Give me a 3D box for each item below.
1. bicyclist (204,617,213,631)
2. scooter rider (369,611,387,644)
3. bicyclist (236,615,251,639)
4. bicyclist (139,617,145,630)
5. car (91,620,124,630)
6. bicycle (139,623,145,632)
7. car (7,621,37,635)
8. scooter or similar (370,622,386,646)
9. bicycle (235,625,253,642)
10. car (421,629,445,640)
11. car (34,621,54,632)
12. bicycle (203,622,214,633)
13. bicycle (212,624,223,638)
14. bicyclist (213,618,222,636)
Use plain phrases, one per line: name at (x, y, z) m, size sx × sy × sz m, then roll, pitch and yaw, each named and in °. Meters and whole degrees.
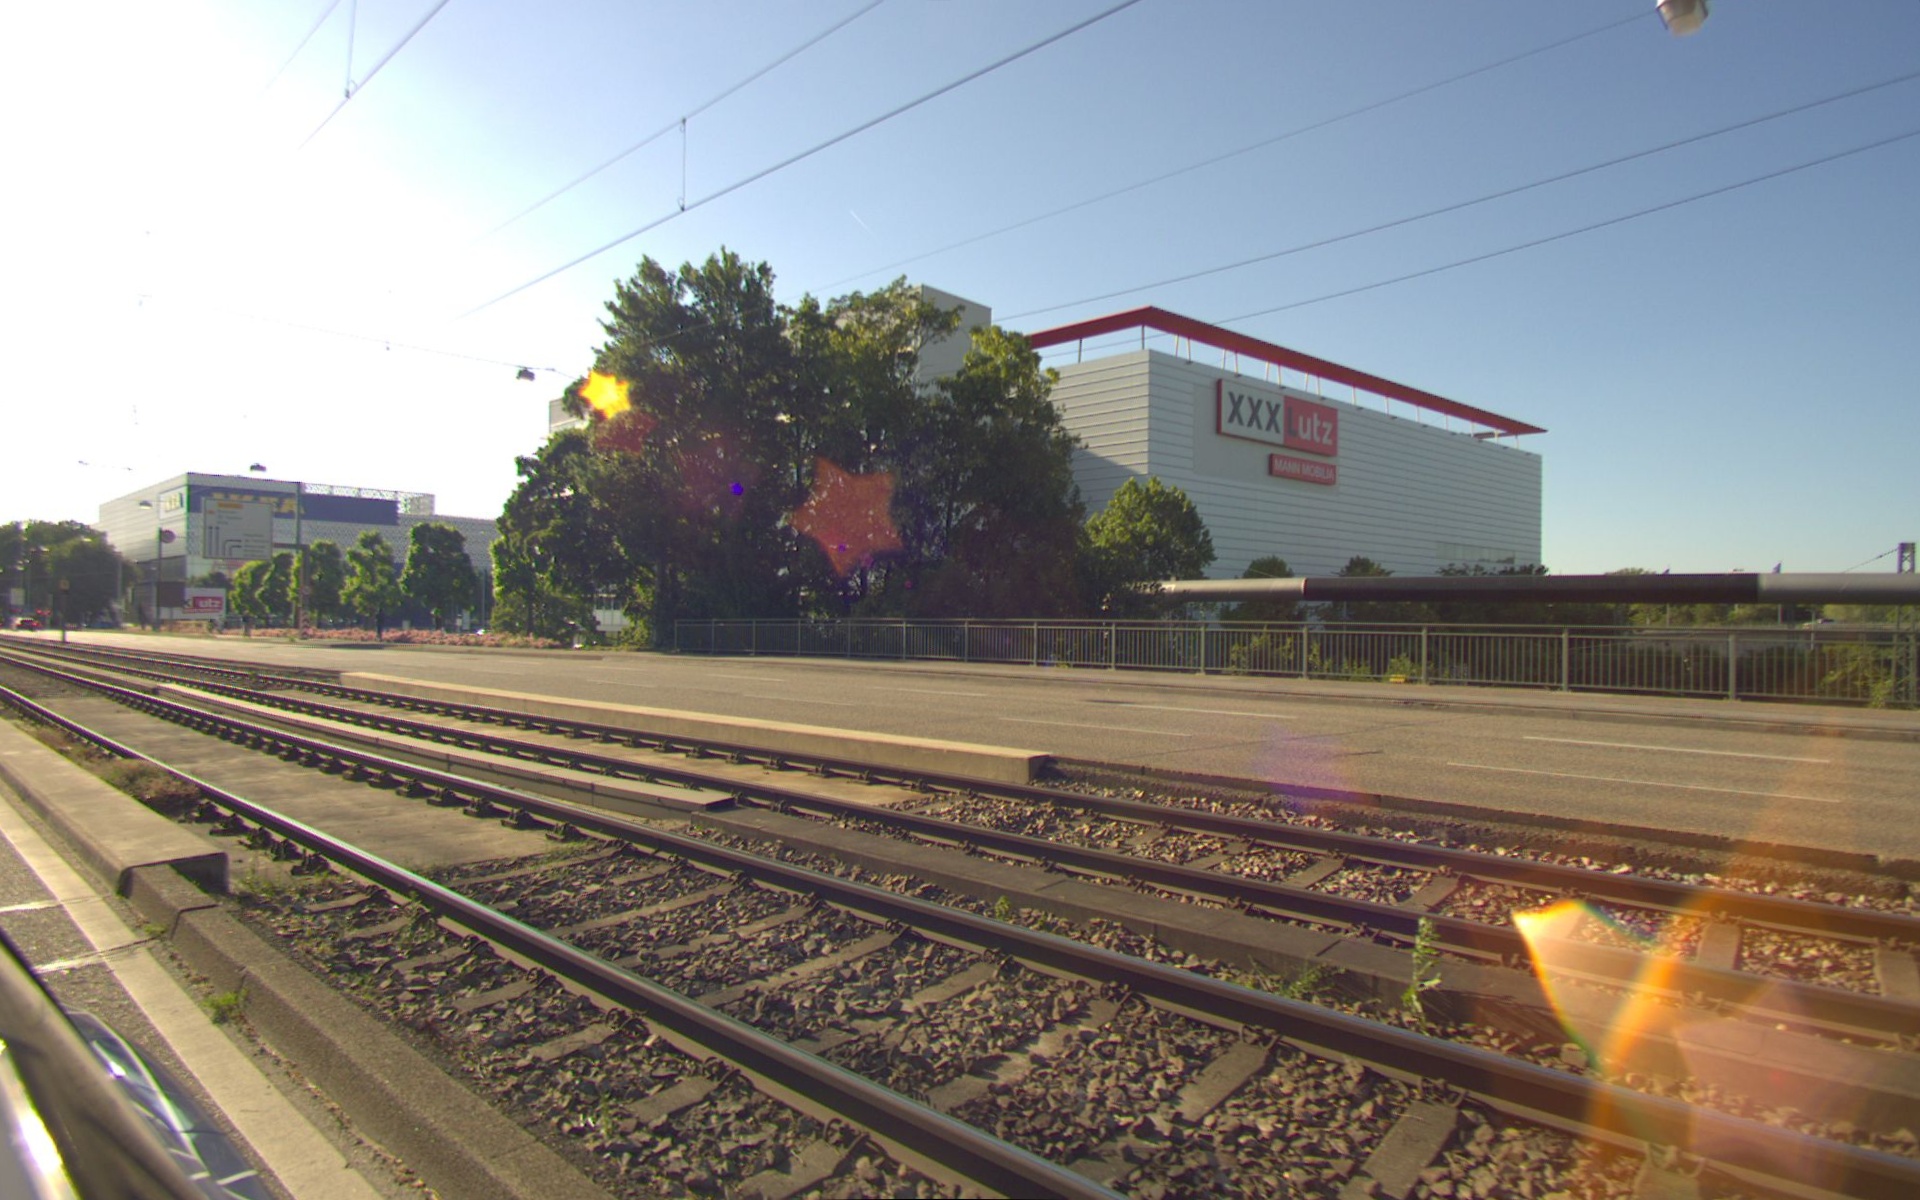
bicyclist at (-76.513, 2.482, 103.059) m, size 0.617 × 1.384 × 0.880 m, roll 2°, pitch -4°, yaw -45°
scooter rider at (-32.294, 1.533, 56.132) m, size 0.674 × 1.862 × 1.002 m, roll 2°, pitch -3°, yaw -41°
bicyclist at (-47.757, 1.805, 67.479) m, size 0.696 × 1.524 × 0.971 m, roll -1°, pitch -1°, yaw -42°
bicyclist at (-106.957, 3.089, 132.315) m, size 0.653 × 1.636 × 0.802 m, roll -1°, pitch -1°, yaw -39°
car at (-149.552, 4.338, 177.534) m, size 4.194 × 1.509 × 2.018 m, roll 5°, pitch -5°, yaw -44°
bicycle at (-106.994, 3.551, 132.376) m, size 0.653 × 1.159 × 2.025 m, roll -2°, pitch -1°, yaw -39°
car at (-107.304, 3.179, 115.724) m, size 4.886 × 1.515 × 2.018 m, roll -2°, pitch -3°, yaw 42°
scooter or similar at (-32.274, 1.881, 56.133) m, size 0.466 × 1.306 × 1.263 m, roll 2°, pitch -3°, yaw -42°
bicycle at (-47.741, 2.246, 67.481) m, size 0.696 × 1.081 × 2.030 m, roll -1°, pitch -1°, yaw -42°
car at (-100.254, 6.568, 192.551) m, size 4.208 × 1.813 × 1.810 m, roll -2°, pitch -1°, yaw 27°
car at (-134.785, 3.896, 148.958) m, size 1.911 × 1.488 × 4.138 m, roll 4°, pitch -5°, yaw -40°
bicycle at (-76.502, 2.841, 103.035) m, size 0.617 × 1.067 × 1.704 m, roll 2°, pitch -4°, yaw -44°
bicycle at (-69.049, 2.910, 94.093) m, size 0.595 × 1.228 × 1.750 m, roll -1°, pitch -1°, yaw -42°
bicyclist at (-69.027, 2.527, 94.060) m, size 0.595 × 1.671 × 0.964 m, roll -1°, pitch -1°, yaw -42°
